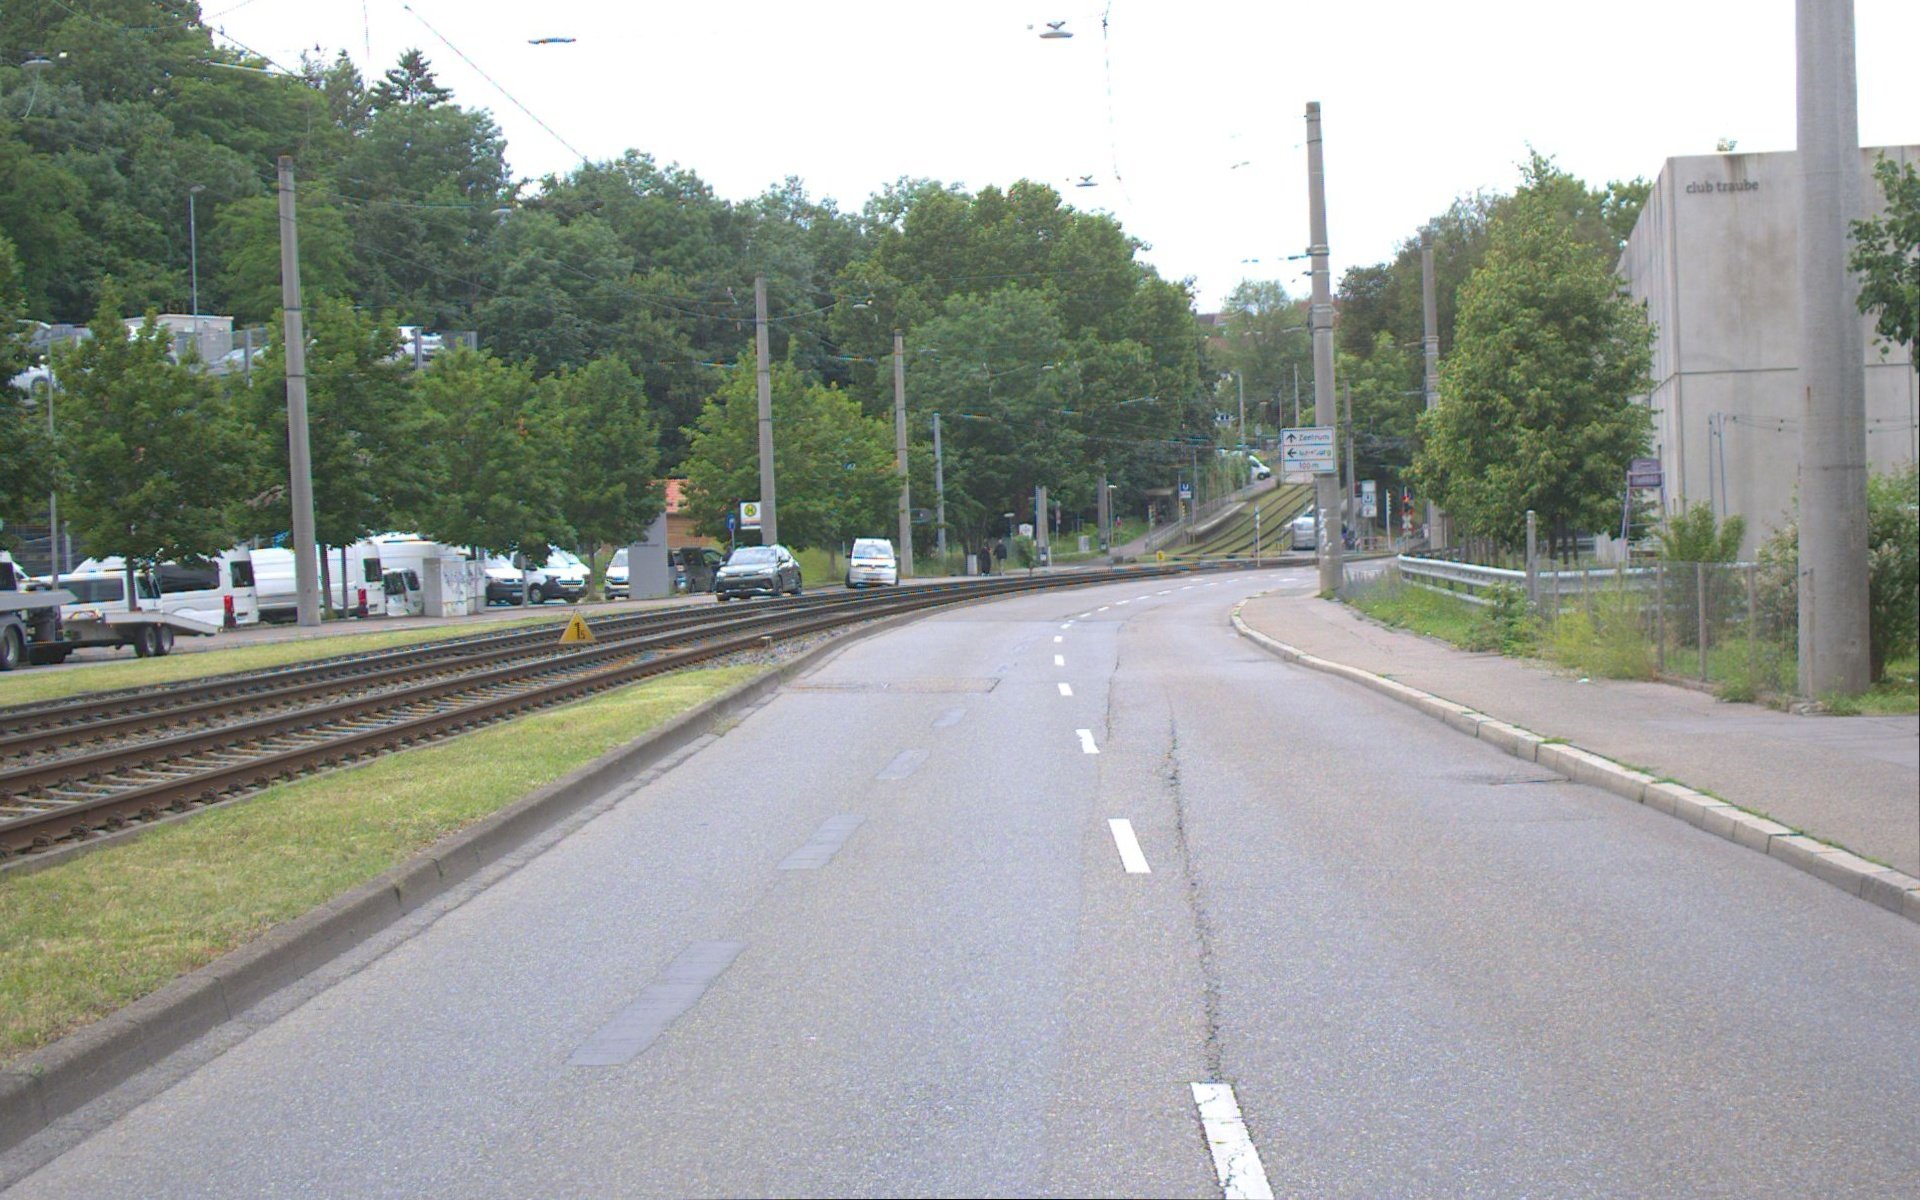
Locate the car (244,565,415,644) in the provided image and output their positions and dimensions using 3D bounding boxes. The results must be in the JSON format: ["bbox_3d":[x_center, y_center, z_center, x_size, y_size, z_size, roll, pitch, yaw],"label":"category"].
[{"bbox_3d":[-18.109,0.126,98.852,4.367,2.098,2.004,-2,1,7],"label":"car"}]

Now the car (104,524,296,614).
[{"bbox_3d":[-19.655,-0.809,88.998,4.367,2.165,2.004,-2,1,7],"label":"car"}]

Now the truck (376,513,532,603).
[{"bbox_3d":[-18.369,-1.508,124.609,5.933,3.074,2.115,-1,1,40],"label":"truck"}]

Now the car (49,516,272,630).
[{"bbox_3d":[-20.040,-0.689,86.280,4.967,2.689,2.115,-2,1,7],"label":"car"}]

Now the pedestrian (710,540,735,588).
[{"bbox_3d":[-8.266,-1.254,119.555,0.718,1.650,1.042,1,1,4],"label":"pedestrian"}]

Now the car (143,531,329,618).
[{"bbox_3d":[-19.213,-0.675,91.339,4.367,2.165,2.004,-2,1,7],"label":"car"}]

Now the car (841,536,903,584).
[{"bbox_3d":[-3.568,-1.622,138.985,2.159,1.881,5.074,0,1,-5],"label":"car"}]

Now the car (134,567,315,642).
[{"bbox_3d":[-20.136,0.115,94.196,4.367,1.904,2.004,-2,1,7],"label":"car"}]

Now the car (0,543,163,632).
[{"bbox_3d":[-21.564,-0.289,82.336,4.367,2.003,2.004,-2,1,7],"label":"car"}]

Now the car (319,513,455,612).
[{"bbox_3d":[-18.254,-1.237,109.803,2.109,3.009,5.933,-2,1,13],"label":"car"}]

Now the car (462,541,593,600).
[{"bbox_3d":[-15.893,-1.078,126.201,4.725,2.007,1.996,-1,1,38],"label":"car"}]

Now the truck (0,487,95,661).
[{"bbox_3d":[-16.590,-0.311,53.280,2.757,2.732,9.216,-3,1,8],"label":"truck"}]

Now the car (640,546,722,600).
[{"bbox_3d":[-10.994,-1.082,135.768,1.994,2.007,5.128,-2,1,9],"label":"car"}]

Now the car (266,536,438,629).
[{"bbox_3d":[-17.874,-0.526,101.200,4.367,2.098,2.004,8,2,7],"label":"car"}]

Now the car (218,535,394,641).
[{"bbox_3d":[-18.322,-0.352,96.449,4.367,2.809,2.004,-2,1,7],"label":"car"}]

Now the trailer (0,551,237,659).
[{"bbox_3d":[-15.318,0.055,61.277,2.383,1.692,6.946,-4,1,9],"label":"trailer"}]

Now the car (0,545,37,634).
[{"bbox_3d":[-30.224,-0.234,100.765,5.932,2.593,2.005,-2,1,-18],"label":"car"}]

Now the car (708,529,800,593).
[{"bbox_3d":[-6.046,-1.130,101.335,1.994,1.733,4.533,-4,0,5],"label":"car"}]

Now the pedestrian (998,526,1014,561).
[{"bbox_3d":[2.240,-2.755,167.121,0.628,1.707,0.855,0,1,14],"label":"pedestrian"}]

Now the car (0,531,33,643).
[{"bbox_3d":[-22.079,-0.222,72.234,4.498,2.303,2.124,-1,1,12],"label":"car"}]

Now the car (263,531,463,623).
[{"bbox_3d":[-18.100,-0.706,104.276,5.475,2.593,2.246,-1,1,11],"label":"car"}]
